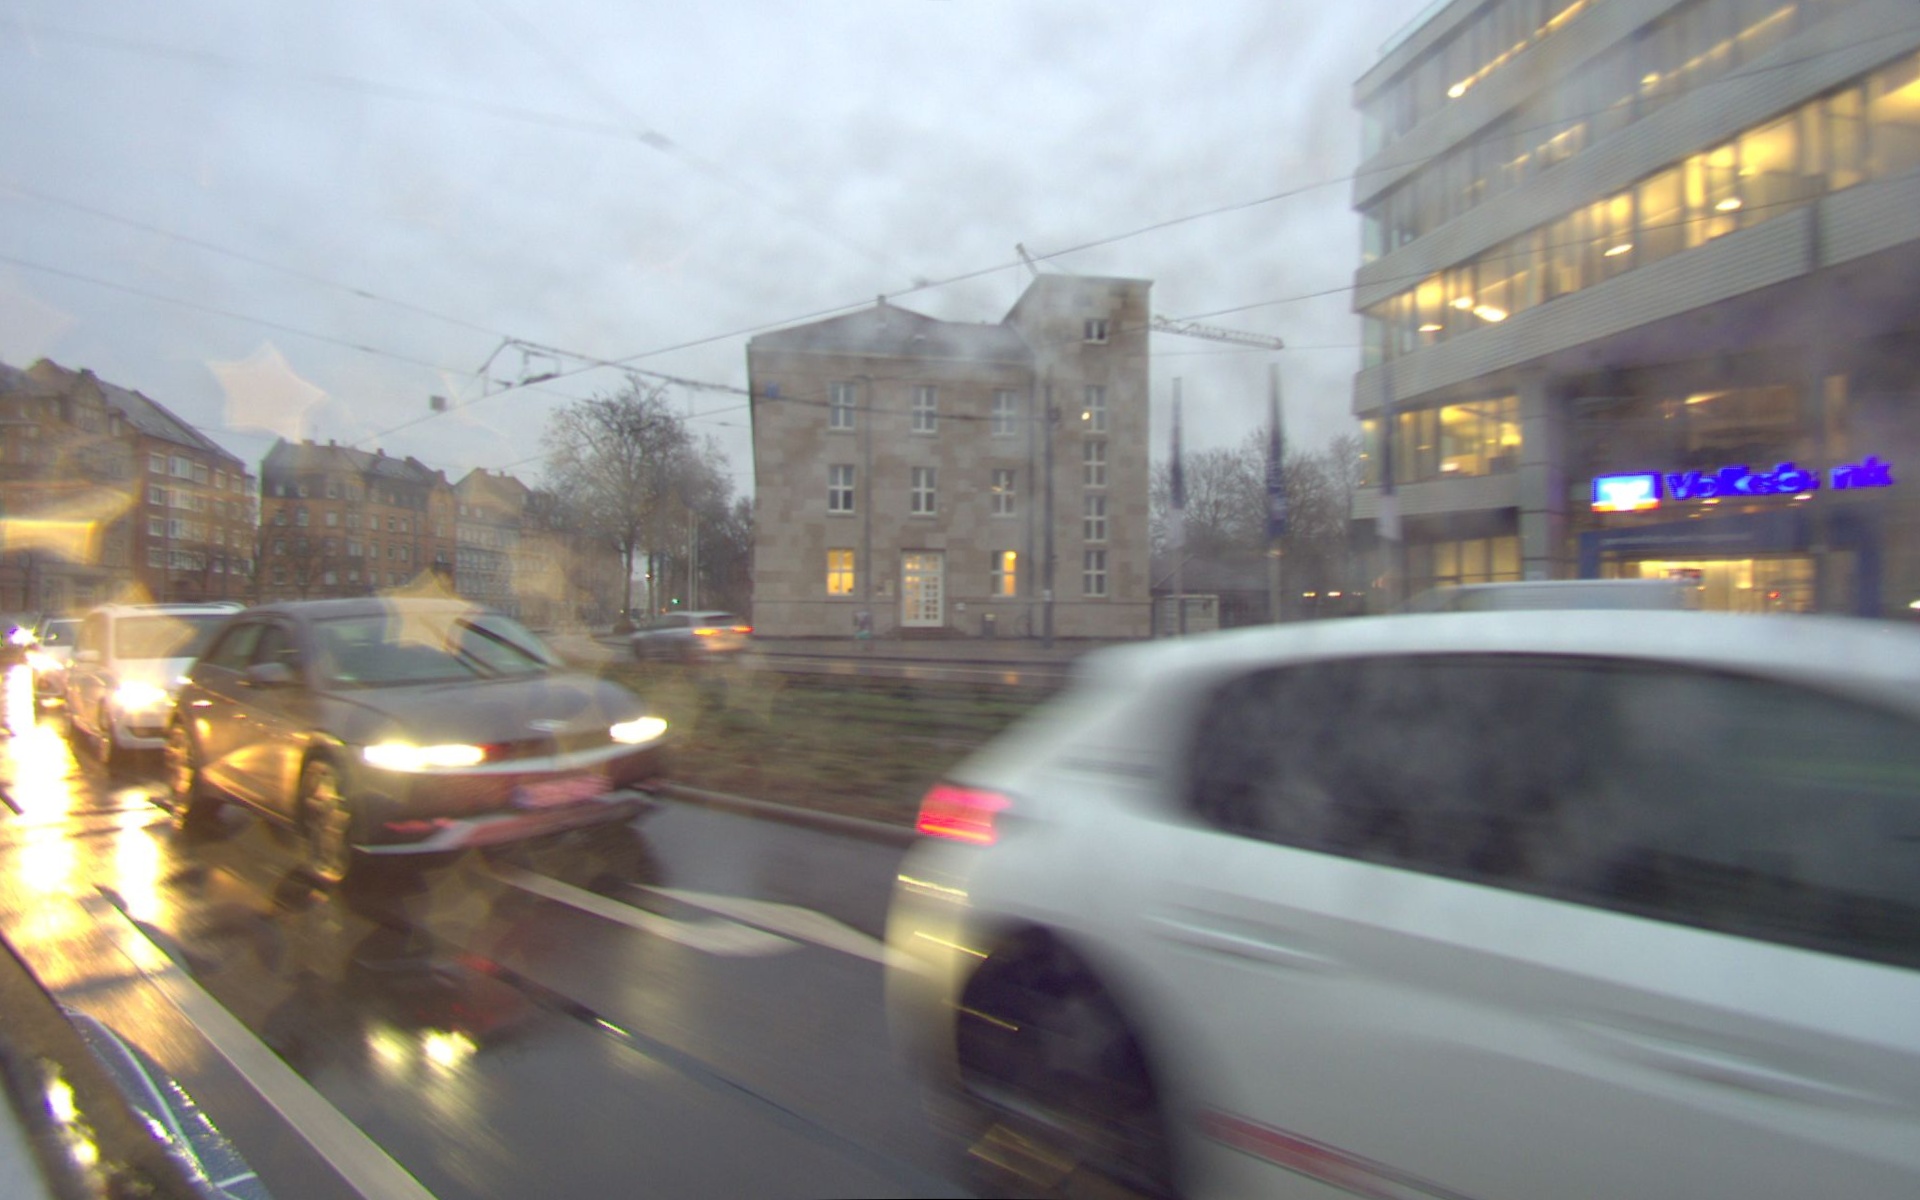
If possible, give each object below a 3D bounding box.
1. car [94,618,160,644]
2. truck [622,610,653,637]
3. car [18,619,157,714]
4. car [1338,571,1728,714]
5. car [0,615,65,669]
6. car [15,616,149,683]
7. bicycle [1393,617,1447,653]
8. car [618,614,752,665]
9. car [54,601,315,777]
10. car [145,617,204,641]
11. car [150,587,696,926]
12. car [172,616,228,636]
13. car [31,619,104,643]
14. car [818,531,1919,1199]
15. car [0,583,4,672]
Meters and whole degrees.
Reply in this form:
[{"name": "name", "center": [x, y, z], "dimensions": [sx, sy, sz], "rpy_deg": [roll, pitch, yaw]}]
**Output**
[{"name": "car", "center": [-53.735, 2.017, 65.352], "dimensions": [3.133, 1.636, 1.432], "rpy_deg": [1, -2, -34]}, {"name": "truck", "center": [-25.517, 1.842, 80.234], "dimensions": [1.809, 2.060, 4.008], "rpy_deg": [0, -1, -9]}, {"name": "car", "center": [-15.019, 1.057, 17.370], "dimensions": [1.665, 1.441, 3.350], "rpy_deg": [0, -1, -43]}, {"name": "car", "center": [8.690, 0.609, 15.700], "dimensions": [4.963, 1.886, 1.878], "rpy_deg": [-1, -2, 43]}, {"name": "car", "center": [-31.551, 1.368, 33.741], "dimensions": [1.846, 1.701, 4.183], "rpy_deg": [0, -1, -32]}, {"name": "car", "center": [-21.334, 1.160, 24.775], "dimensions": [1.846, 1.486, 4.182], "rpy_deg": [0, -1, -32]}, {"name": "bicycle", "center": [14.523, 1.097, 31.950], "dimensions": [1.473, 1.136, 0.529], "rpy_deg": [0, -1, -9]}, {"name": "car", "center": [-8.061, 1.107, 29.499], "dimensions": [4.475, 1.397, 1.622], "rpy_deg": [-1, -2, 42]}, {"name": "car", "center": [-8.803, 0.859, 11.350], "dimensions": [4.223, 1.611, 1.653], "rpy_deg": [-1, -2, 43]}, {"name": "car", "center": [-54.765, 2.016, 70.579], "dimensions": [3.133, 1.636, 1.450], "rpy_deg": [1, -2, -34]}, {"name": "car", "center": [-3.832, 0.776, 6.856], "dimensions": [4.359, 1.582, 1.802], "rpy_deg": [-1, -2, 41]}, {"name": "car", "center": [-55.422, 1.866, 73.831], "dimensions": [3.133, 1.424, 1.386], "rpy_deg": [1, -2, -32]}, {"name": "car", "center": [-54.136, 1.877, 61.453], "dimensions": [3.133, 1.440, 1.432], "rpy_deg": [1, -2, -34]}, {"name": "car", "center": [1.708, 0.659, 1.913], "dimensions": [3.913, 1.475, 1.741], "rpy_deg": [-1, -1, 39]}, {"name": "car", "center": [-26.325, 0.741, 25.653], "dimensions": [2.206, 2.481, 5.684], "rpy_deg": [0, -1, -35]}]
